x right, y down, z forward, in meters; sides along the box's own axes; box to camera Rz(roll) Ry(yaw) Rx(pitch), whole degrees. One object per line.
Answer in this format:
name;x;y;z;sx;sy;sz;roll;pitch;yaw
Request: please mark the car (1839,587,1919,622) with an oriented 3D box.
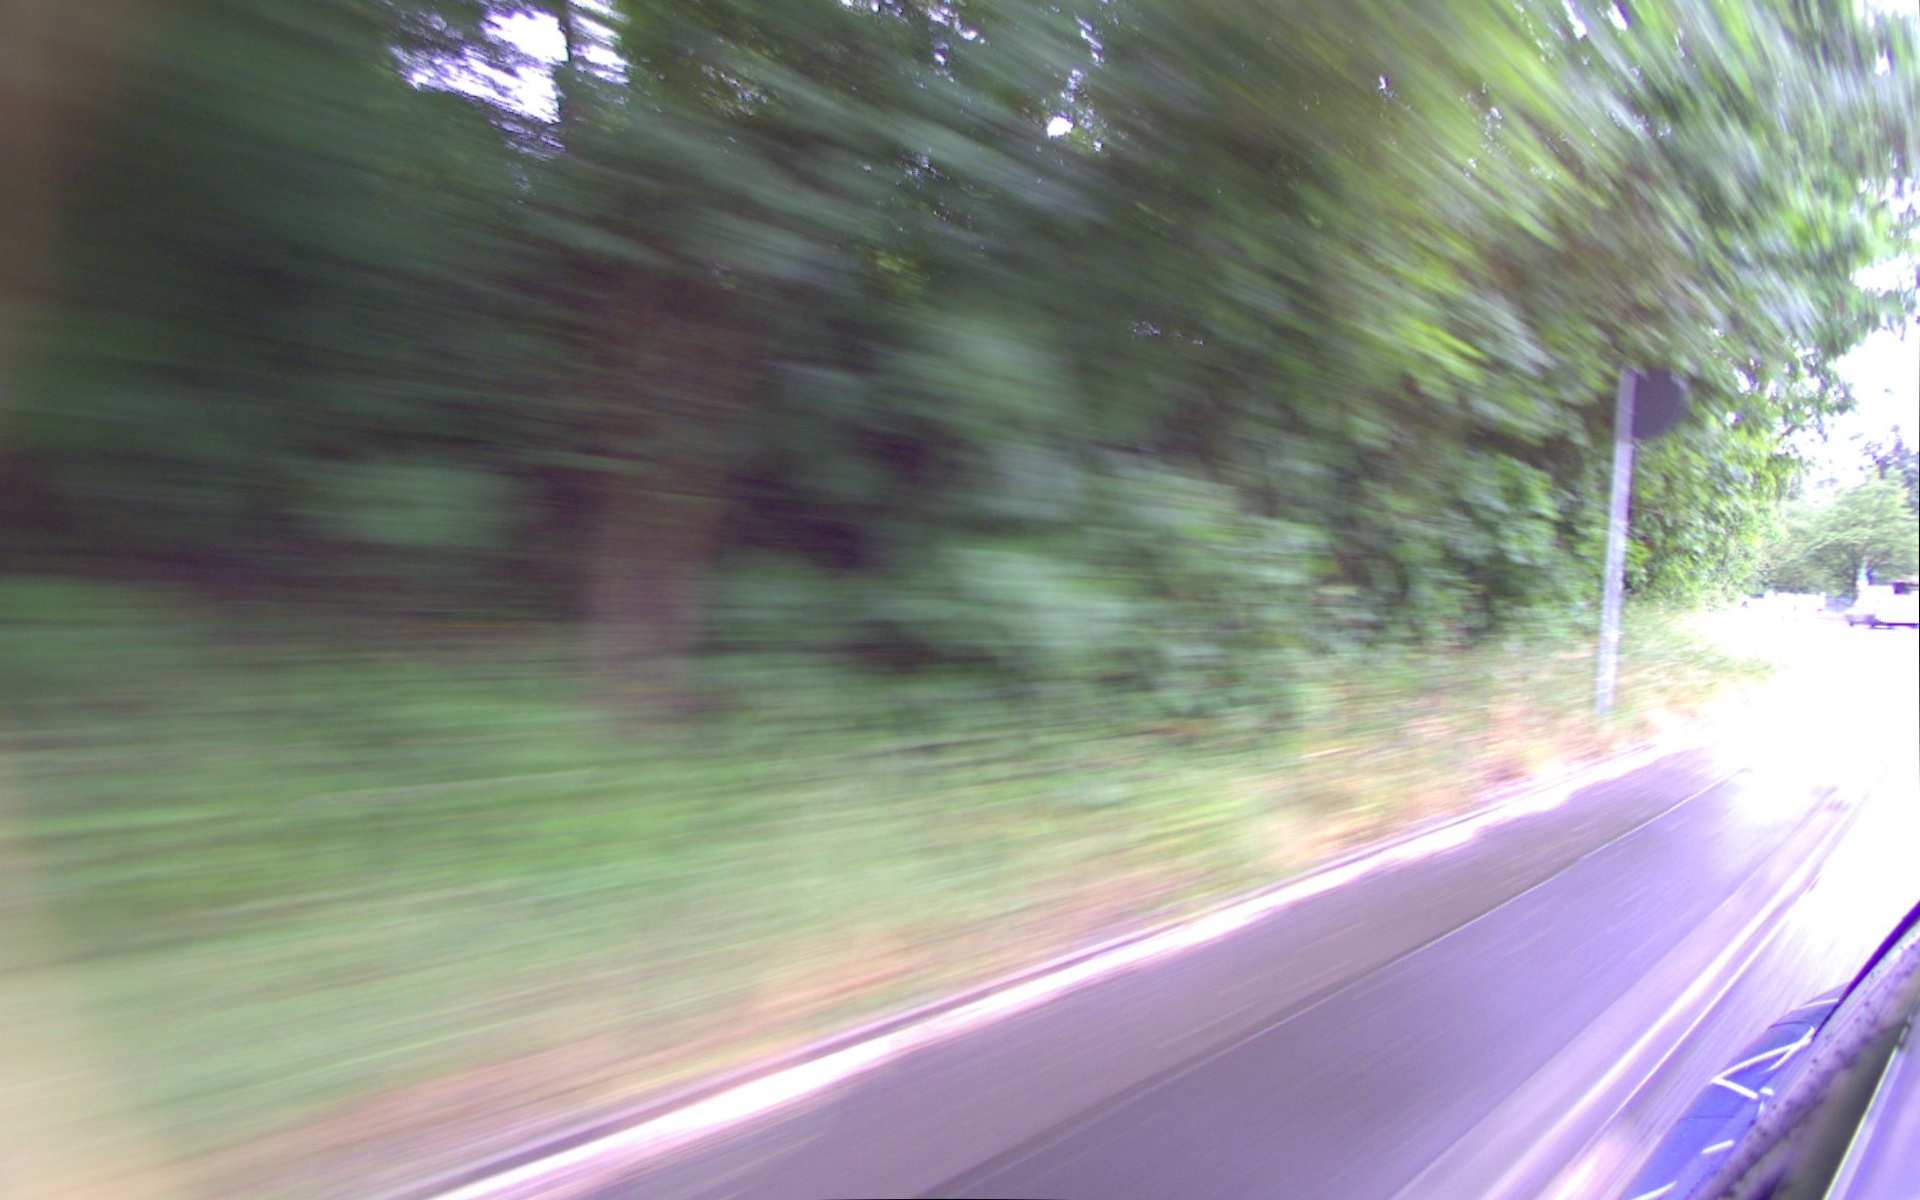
car;45.258;0.187;49.469;1.740;1.635;4.396;0;0;16
